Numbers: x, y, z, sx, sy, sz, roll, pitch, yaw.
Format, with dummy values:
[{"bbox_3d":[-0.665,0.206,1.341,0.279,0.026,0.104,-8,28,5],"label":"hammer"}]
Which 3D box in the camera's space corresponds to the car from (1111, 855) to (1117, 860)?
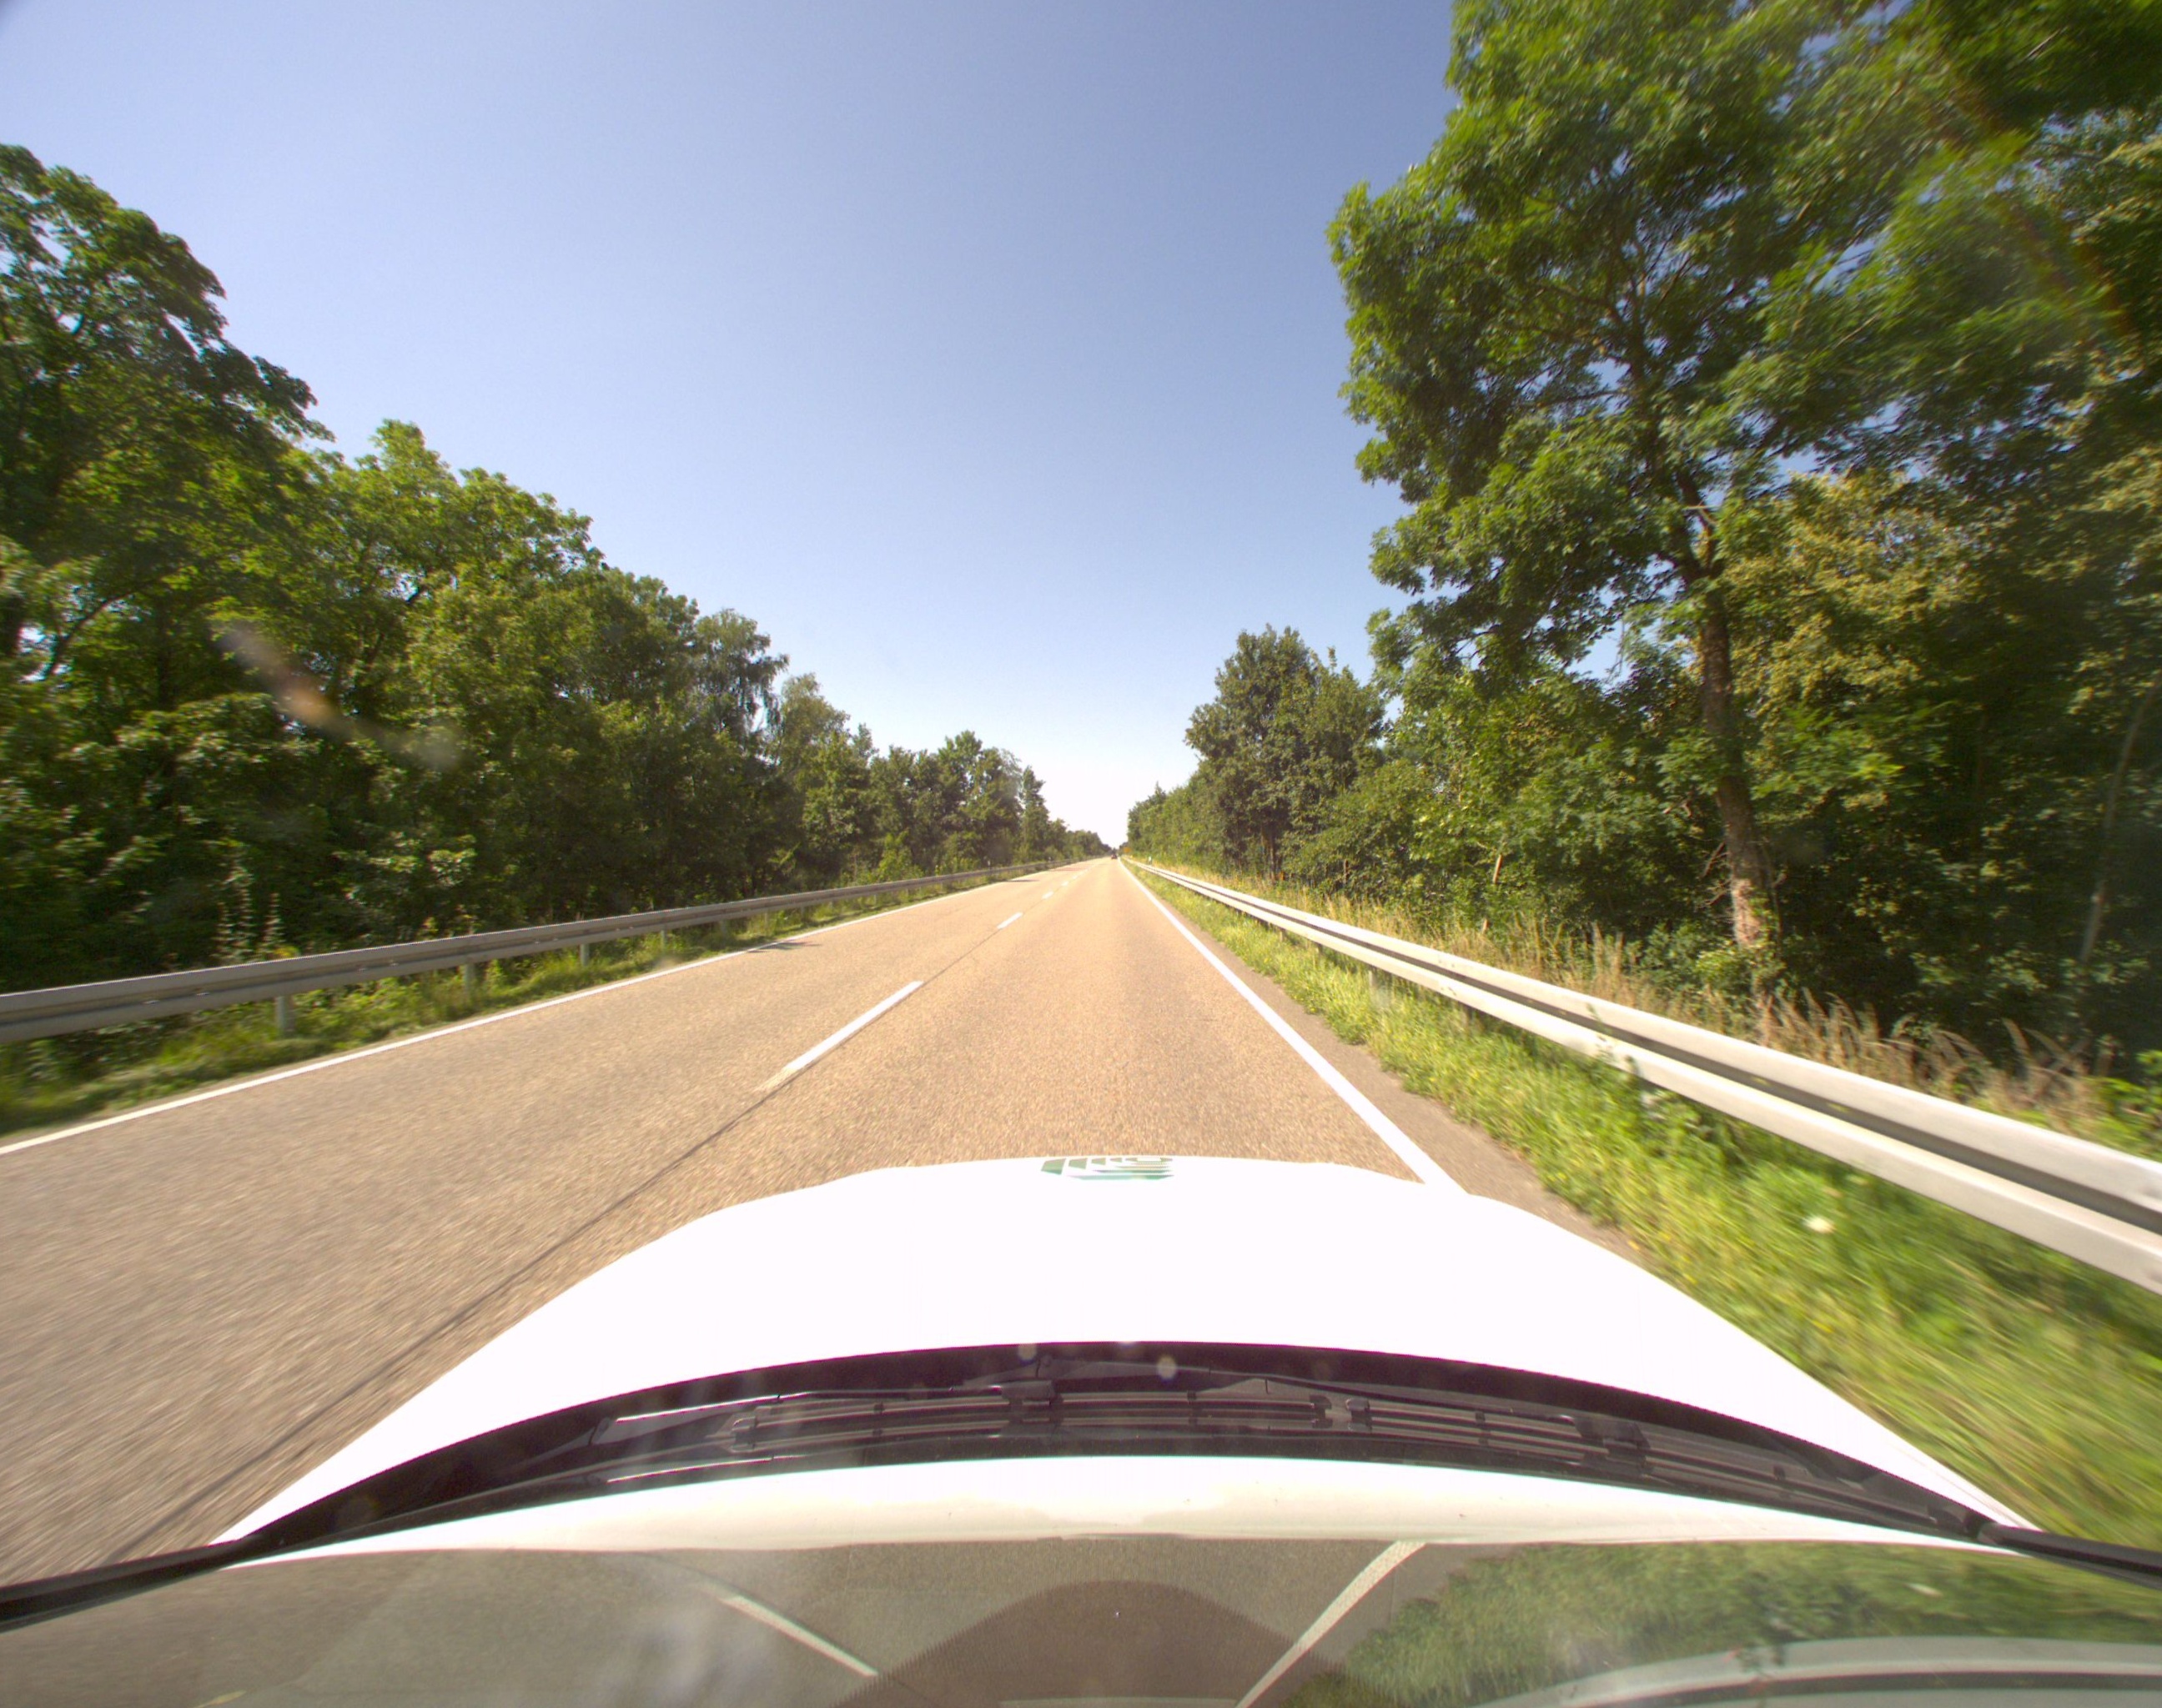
[{"bbox_3d":[9.406,0.994,233.163,1.733,1.470,3.696,-1,0,4],"label":"car"}]
